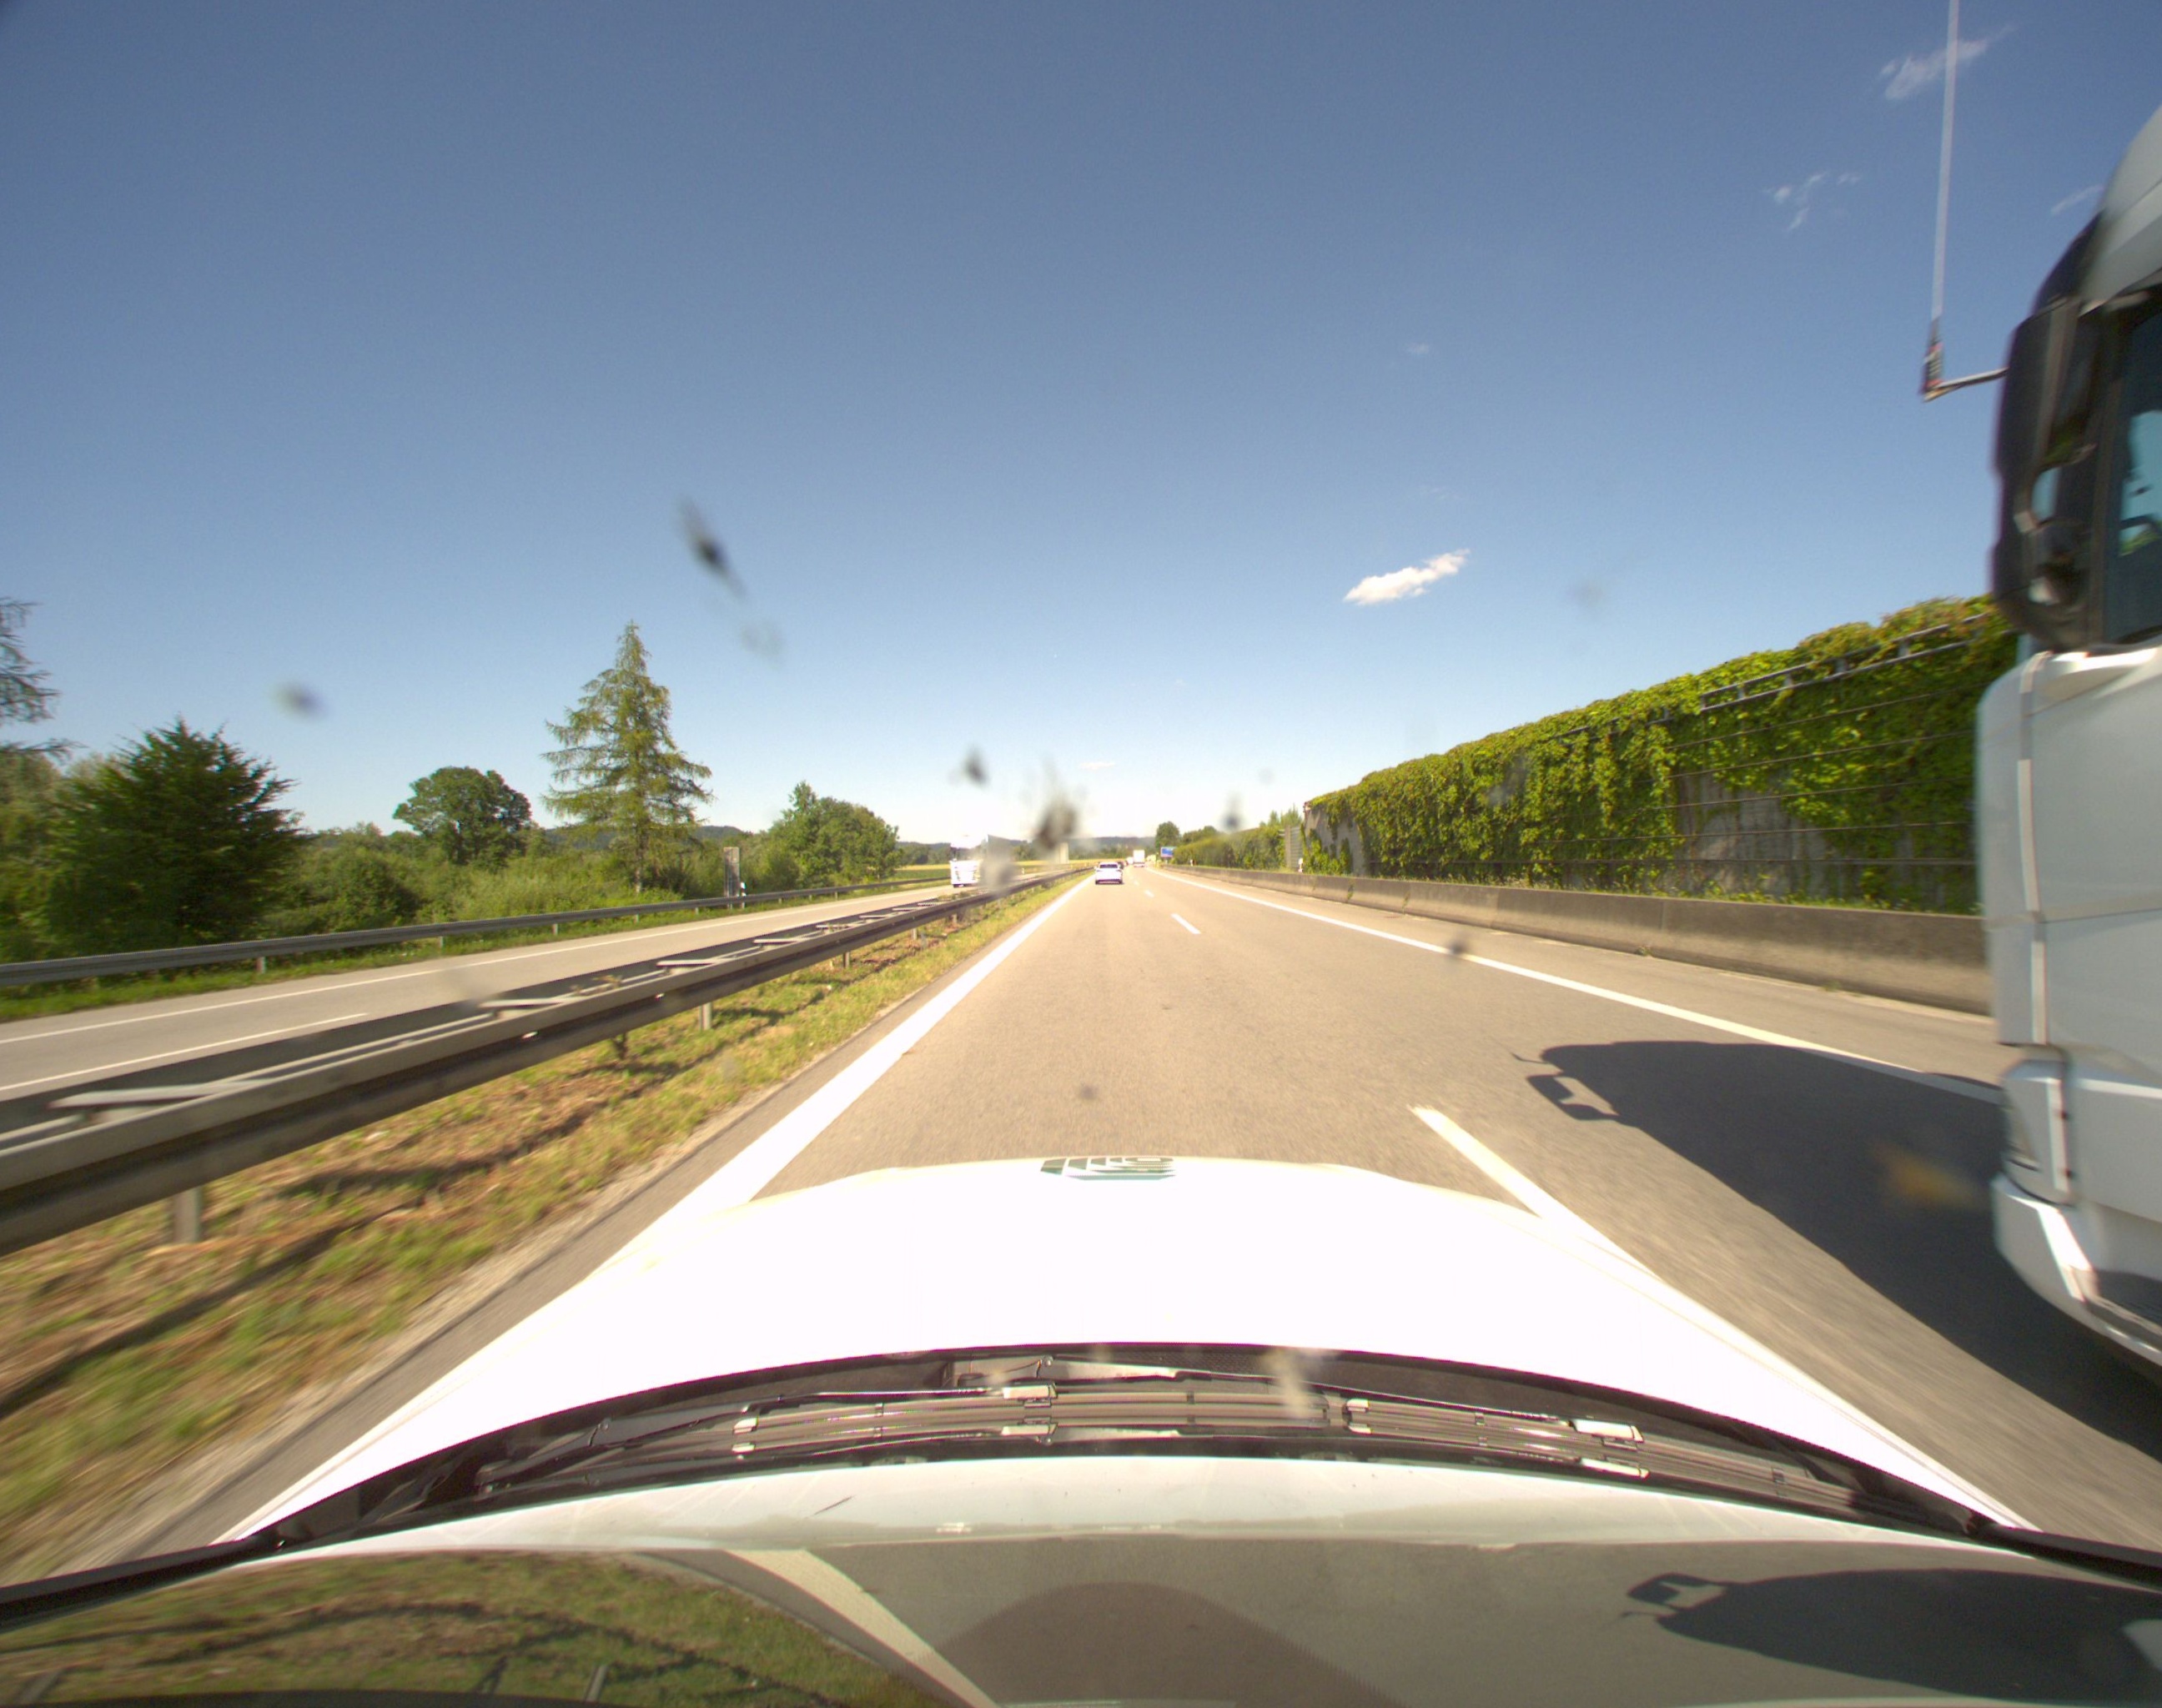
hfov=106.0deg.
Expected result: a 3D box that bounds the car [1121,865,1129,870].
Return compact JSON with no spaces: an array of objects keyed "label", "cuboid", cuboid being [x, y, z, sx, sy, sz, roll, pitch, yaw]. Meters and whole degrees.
[{"label":"car","cuboid":[11.762,3.627,217.633,1.763,1.421,4.371,-1,-1,5]}]

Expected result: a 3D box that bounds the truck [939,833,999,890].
[{"label":"truck","cuboid":[-8.772,0.584,64.827,3.144,4.101,7.739,-3,-1,2]}]

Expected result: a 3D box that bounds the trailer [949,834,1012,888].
[{"label":"trailer","cuboid":[-8.530,0.593,71.407,3.138,4.124,13.448,-3,-1,2]}]

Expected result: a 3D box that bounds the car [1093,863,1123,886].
[{"label":"car","cuboid":[1.782,1.331,54.608,1.834,1.421,5.253,0,0,0]}]

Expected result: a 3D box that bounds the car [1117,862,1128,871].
[{"label":"car","cuboid":[7.396,2.219,144.638,1.762,1.421,4.502,-1,-1,5]}]

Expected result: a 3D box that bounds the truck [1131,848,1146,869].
[{"label":"truck","cuboid":[13.538,1.123,191.486,3.137,4.612,8.916,-2,-1,5]}]

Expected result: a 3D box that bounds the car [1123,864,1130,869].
[{"label":"car","cuboid":[13.158,3.636,235.858,1.762,1.421,4.371,-1,-1,6]}]
